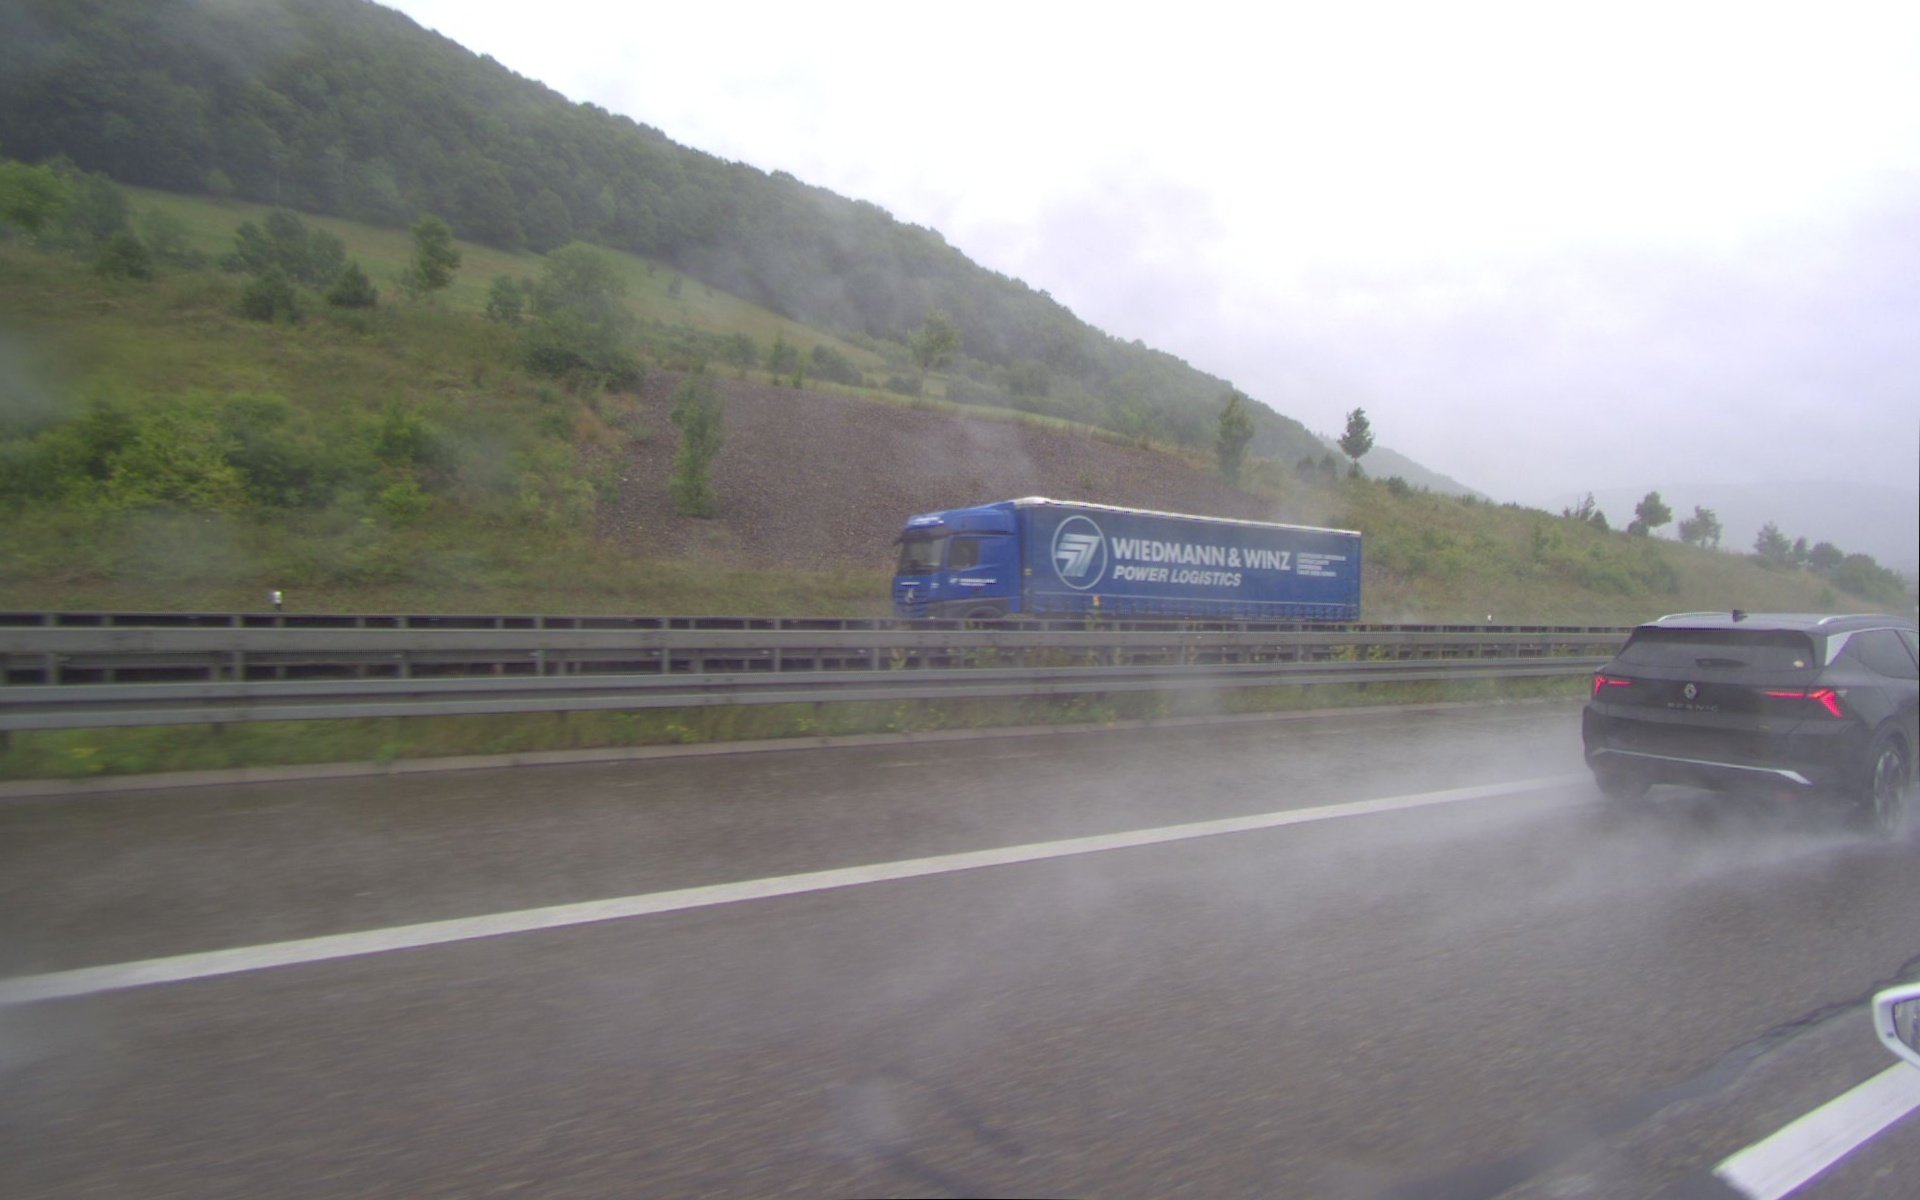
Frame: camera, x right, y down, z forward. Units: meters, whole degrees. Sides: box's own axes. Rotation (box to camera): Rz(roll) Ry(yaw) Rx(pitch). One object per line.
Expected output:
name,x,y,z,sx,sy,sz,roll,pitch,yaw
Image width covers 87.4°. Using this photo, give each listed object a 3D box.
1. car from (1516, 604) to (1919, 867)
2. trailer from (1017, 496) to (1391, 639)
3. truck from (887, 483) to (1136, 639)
car,7.196,0.885,8.391,4.728,1.536,2.394,1,1,-31
trailer,7.948,-0.736,30.965,13.098,3.730,2.798,1,0,-32
truck,1.437,-0.887,26.849,6.138,3.732,2.765,1,0,-32
